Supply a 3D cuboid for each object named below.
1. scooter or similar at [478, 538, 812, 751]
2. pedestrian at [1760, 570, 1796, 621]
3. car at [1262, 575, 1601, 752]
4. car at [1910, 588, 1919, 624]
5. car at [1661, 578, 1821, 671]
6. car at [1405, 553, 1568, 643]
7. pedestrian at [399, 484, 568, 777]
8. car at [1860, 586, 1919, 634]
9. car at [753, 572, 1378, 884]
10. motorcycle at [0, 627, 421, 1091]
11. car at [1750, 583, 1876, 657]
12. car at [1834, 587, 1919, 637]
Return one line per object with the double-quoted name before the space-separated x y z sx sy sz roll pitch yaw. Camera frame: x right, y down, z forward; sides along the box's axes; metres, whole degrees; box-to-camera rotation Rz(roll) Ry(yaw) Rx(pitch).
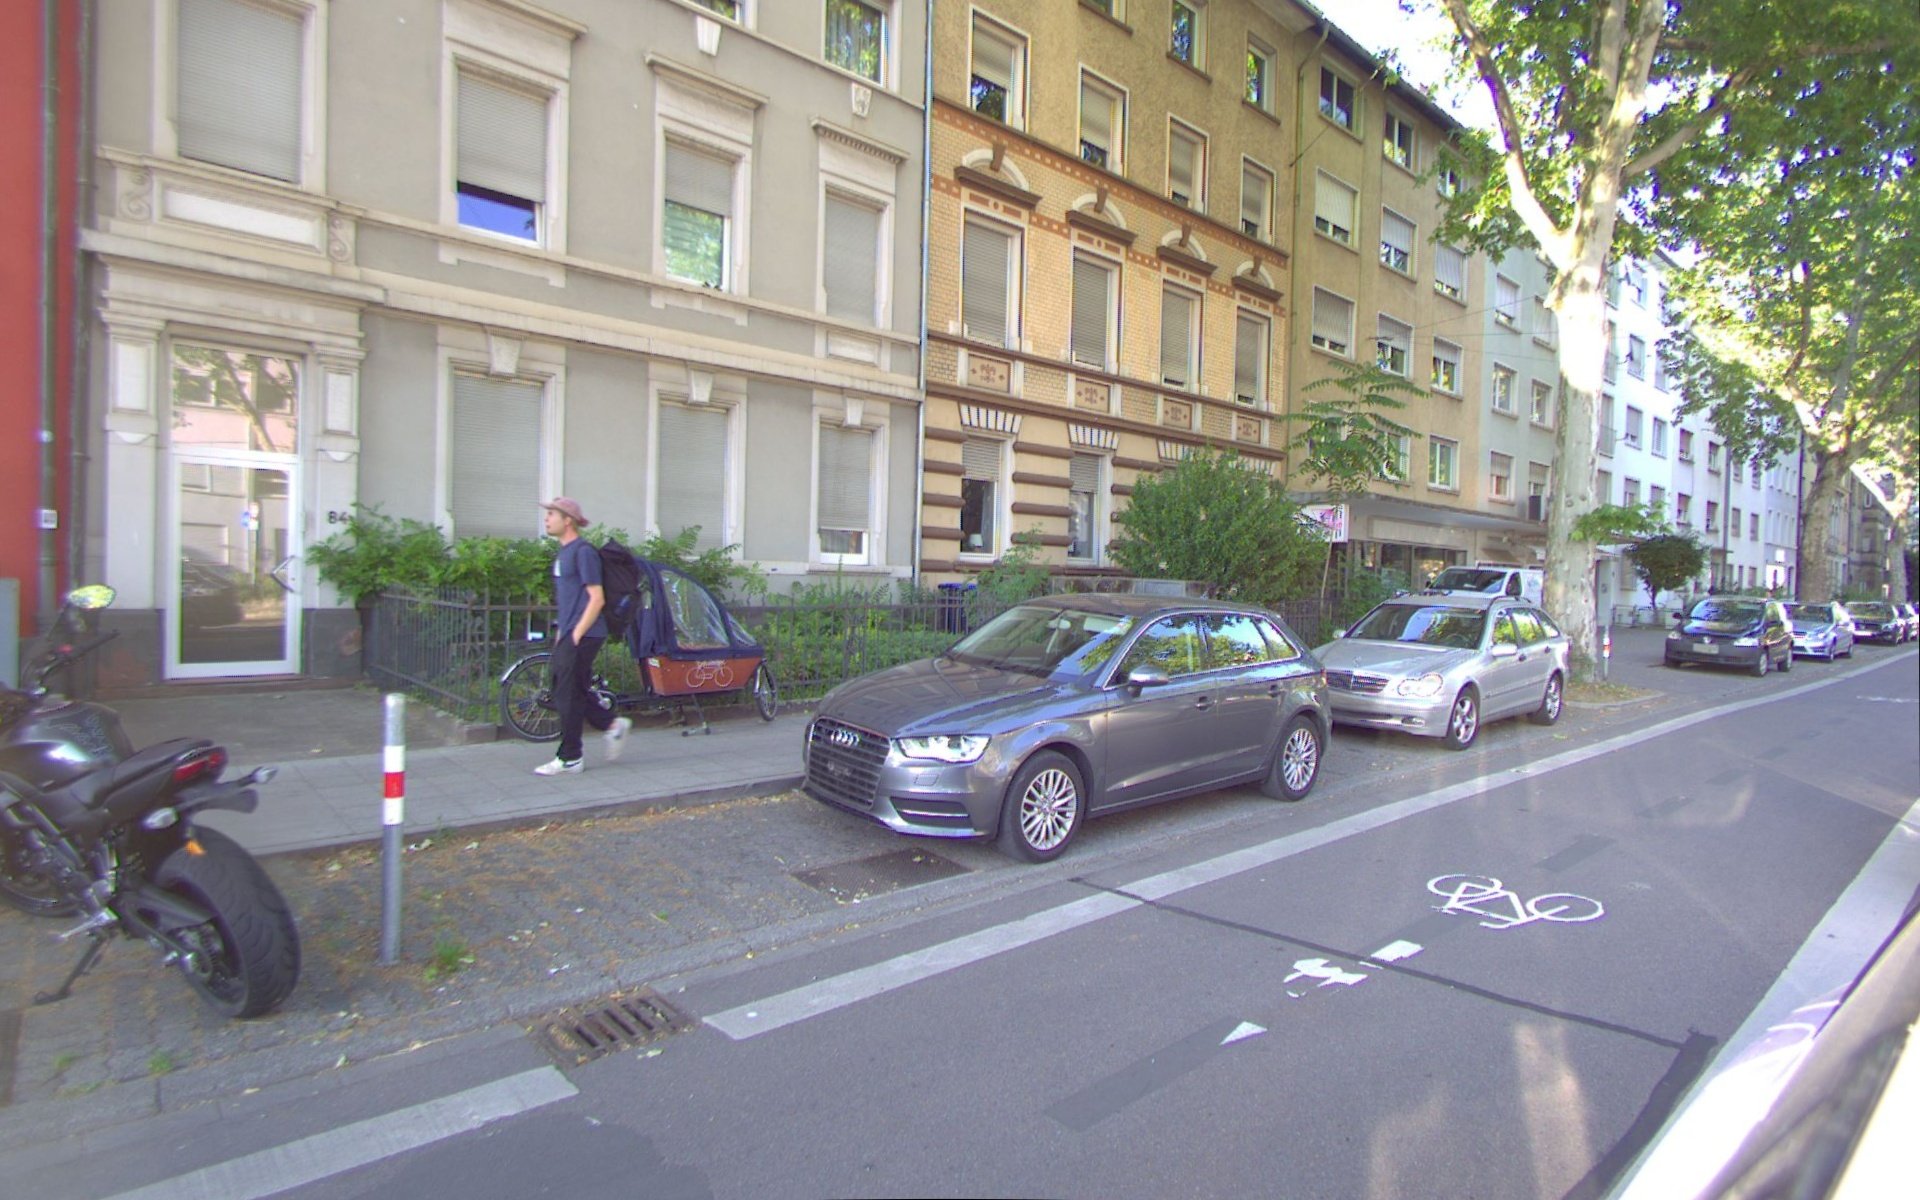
"scooter or similar" -2.439 0.293 8.137 2.500 1.488 0.666 0 2 -41
"pedestrian" 26.117 -0.153 32.313 0.689 1.600 0.728 -1 2 -41
"car" 5.342 0.538 11.163 4.436 1.472 1.801 0 4 -43
"car" 46.727 0.328 48.146 4.034 1.628 1.802 0 4 -42
"car" 16.193 0.432 20.896 4.295 1.628 1.802 0 4 -42
"car" 12.809 -0.094 24.508 4.597 1.897 1.932 0 4 -42
"pedestrian" -3.061 0.154 6.496 0.802 1.731 0.728 -1 4 -41
"car" 35.468 0.351 38.109 4.295 1.628 1.802 0 4 -42
"car" 0.943 0.599 6.985 4.293 1.418 1.802 0 4 -41
"motorcycle" -3.007 0.755 3.596 2.188 1.124 0.659 4 2 23
"car" 21.830 0.446 25.848 4.295 1.628 1.802 0 4 -42
"car" 31.514 0.369 34.673 4.295 1.520 1.802 0 4 -42
